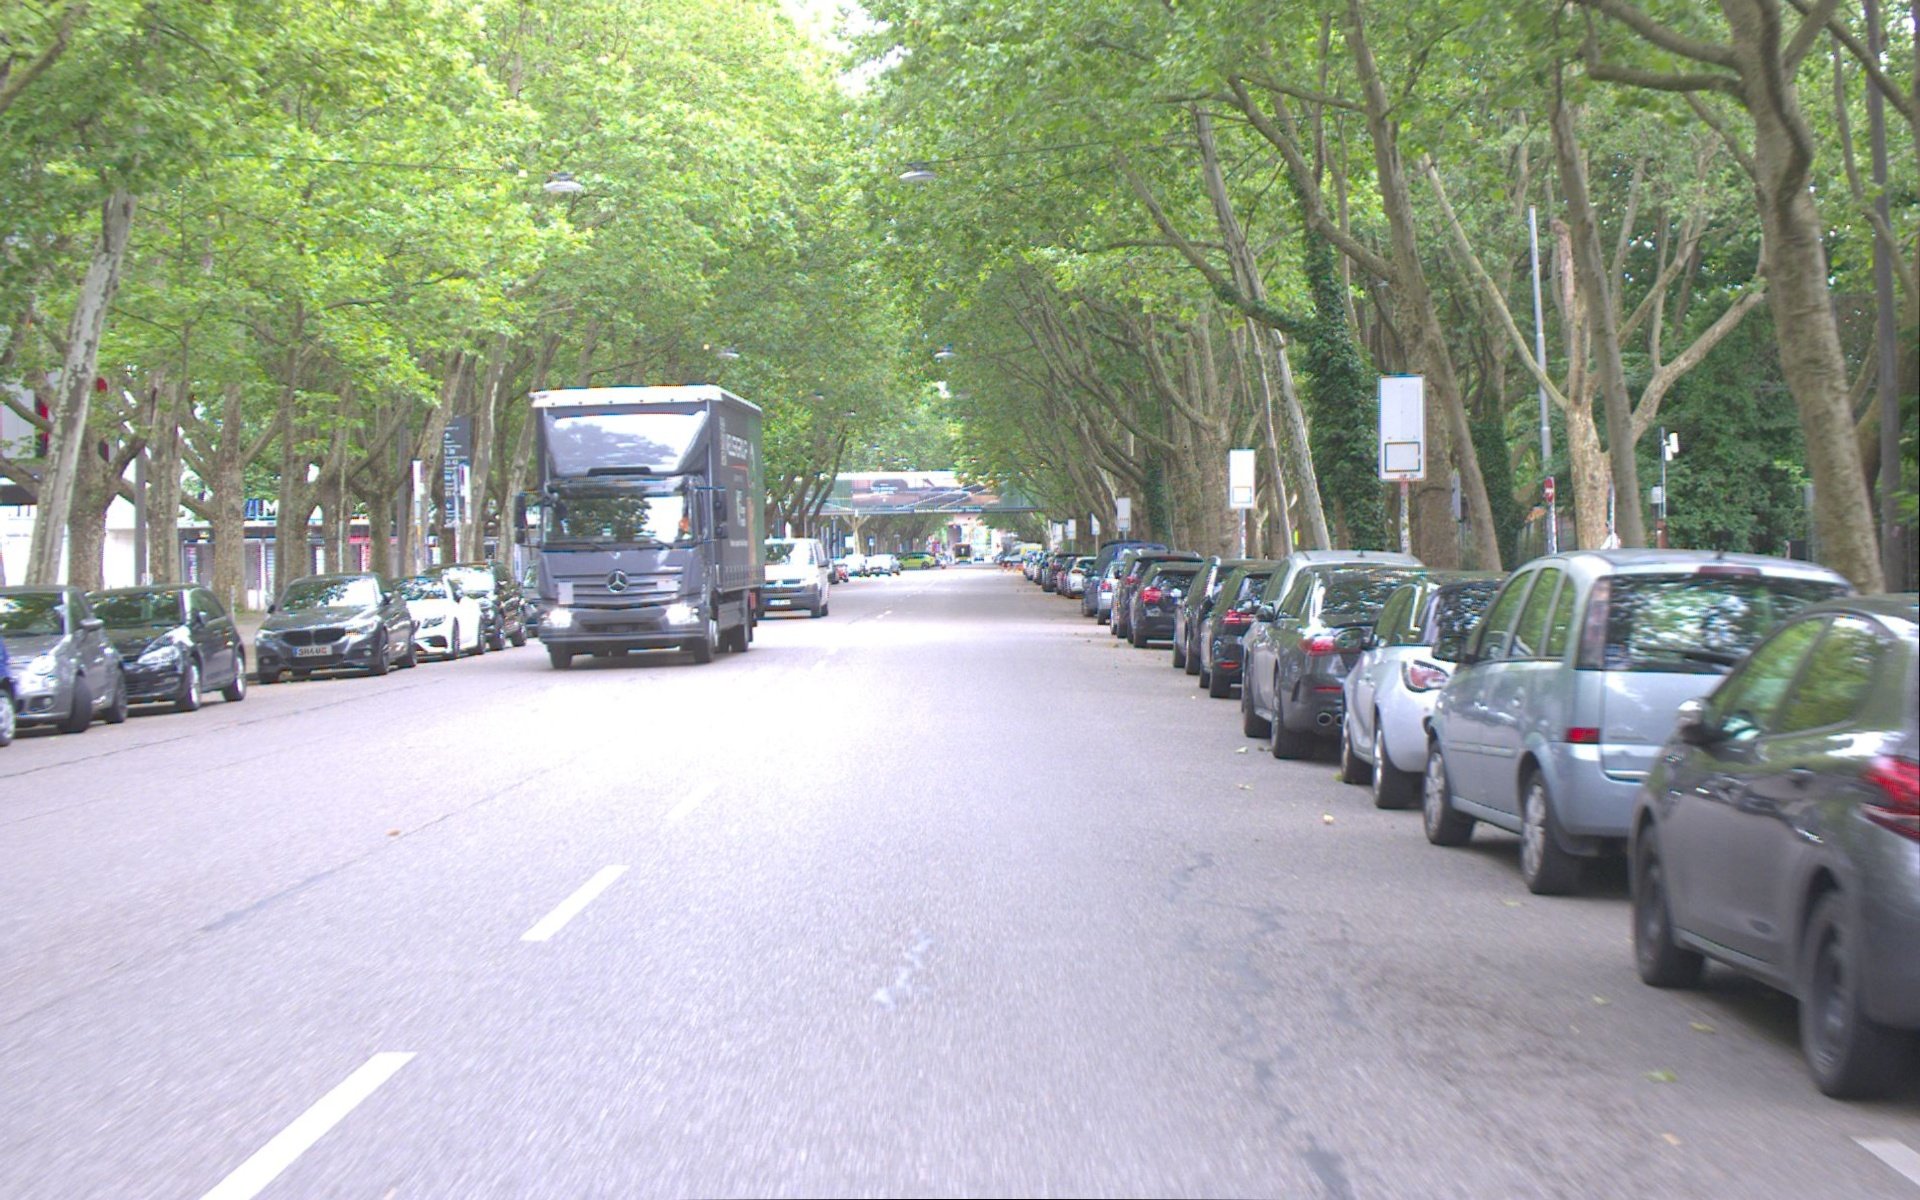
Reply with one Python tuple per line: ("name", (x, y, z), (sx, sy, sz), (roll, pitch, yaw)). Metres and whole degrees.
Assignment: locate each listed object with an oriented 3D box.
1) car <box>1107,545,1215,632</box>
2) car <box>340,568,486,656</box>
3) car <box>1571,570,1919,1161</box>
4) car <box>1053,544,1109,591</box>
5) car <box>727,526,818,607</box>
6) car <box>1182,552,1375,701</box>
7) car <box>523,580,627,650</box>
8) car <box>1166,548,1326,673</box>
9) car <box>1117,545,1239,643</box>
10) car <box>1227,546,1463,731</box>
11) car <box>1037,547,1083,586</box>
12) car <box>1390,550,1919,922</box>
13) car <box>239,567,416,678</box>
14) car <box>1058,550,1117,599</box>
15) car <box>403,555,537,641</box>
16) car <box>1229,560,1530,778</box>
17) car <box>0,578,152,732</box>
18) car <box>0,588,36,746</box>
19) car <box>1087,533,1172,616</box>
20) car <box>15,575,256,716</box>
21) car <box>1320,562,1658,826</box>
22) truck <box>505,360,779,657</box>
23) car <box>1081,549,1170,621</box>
("car", (3.678, -0.237, 63.530), (1.756, 1.529, 3.929), (-1, 1, 0))
("car", (-8.918, 0.213, 56.343), (1.732, 1.328, 4.000), (-2, -1, 0))
("car", (3.290, 0.722, 11.280), (1.699, 1.514, 4.454), (3, 1, 0))
("car", (4.160, -1.119, 118.710), (1.756, 1.529, 3.929), (-2, 1, 0))
("car", (-4.568, -0.842, 84.365), (1.980, 1.927, 4.113), (0, 1, 0))
("car", (3.497, 0.257, 38.338), (1.756, 1.529, 3.929), (2, 1, 0))
("car", (-8.529, 0.353, 76.408), (1.895, 1.433, 4.000), (-2, -1, -1))
("car", (3.749, 0.116, 45.551), (1.756, 1.529, 3.929), (2, 1, 0))
("car", (3.615, -0.119, 57.610), (1.756, 1.529, 3.929), (2, 1, 0))
("car", (3.572, 0.322, 32.522), (1.756, 1.591, 3.929), (2, 1, 0))
("car", (4.069, -1.368, 140.590), (1.756, 1.529, 3.929), (2, 1, 0))
("car", (3.373, 0.577, 17.226), (1.719, 1.562, 4.094), (3, 1, -2))
("car", (-8.991, 0.318, 49.141), (1.765, 1.414, 3.761), (-3, 0, 0))
("car", (4.189, -0.834, 113.504), (1.756, 1.529, 3.929), (-2, 1, 0))
("car", (-8.811, -0.017, 62.055), (1.895, 1.433, 4.000), (-2, -1, -1))
("car", (3.209, 0.475, 27.067), (1.756, 1.485, 4.417), (3, 1, 0))
("car", (-9.370, 0.564, 34.432), (1.765, 1.414, 3.762), (-3, 0, -3))
("car", (-9.493, 0.649, 29.661), (1.695, 1.414, 3.761), (-4, 0, 5))
("car", (4.147, -0.651, 84.450), (1.756, 1.809, 3.929), (-5, 2, 0))
("car", (-9.305, 0.502, 39.081), (1.765, 1.414, 3.761), (-3, 0, 0))
("car", (3.344, 0.543, 22.348), (1.675, 1.485, 3.686), (3, 1, 2))
("truck", (-4.511, -1.281, 50.805), (2.641, 3.888, 9.540), (-2, 1, 3))
("car", (3.689, -0.343, 77.217), (1.756, 1.529, 3.929), (2, 1, 0))
